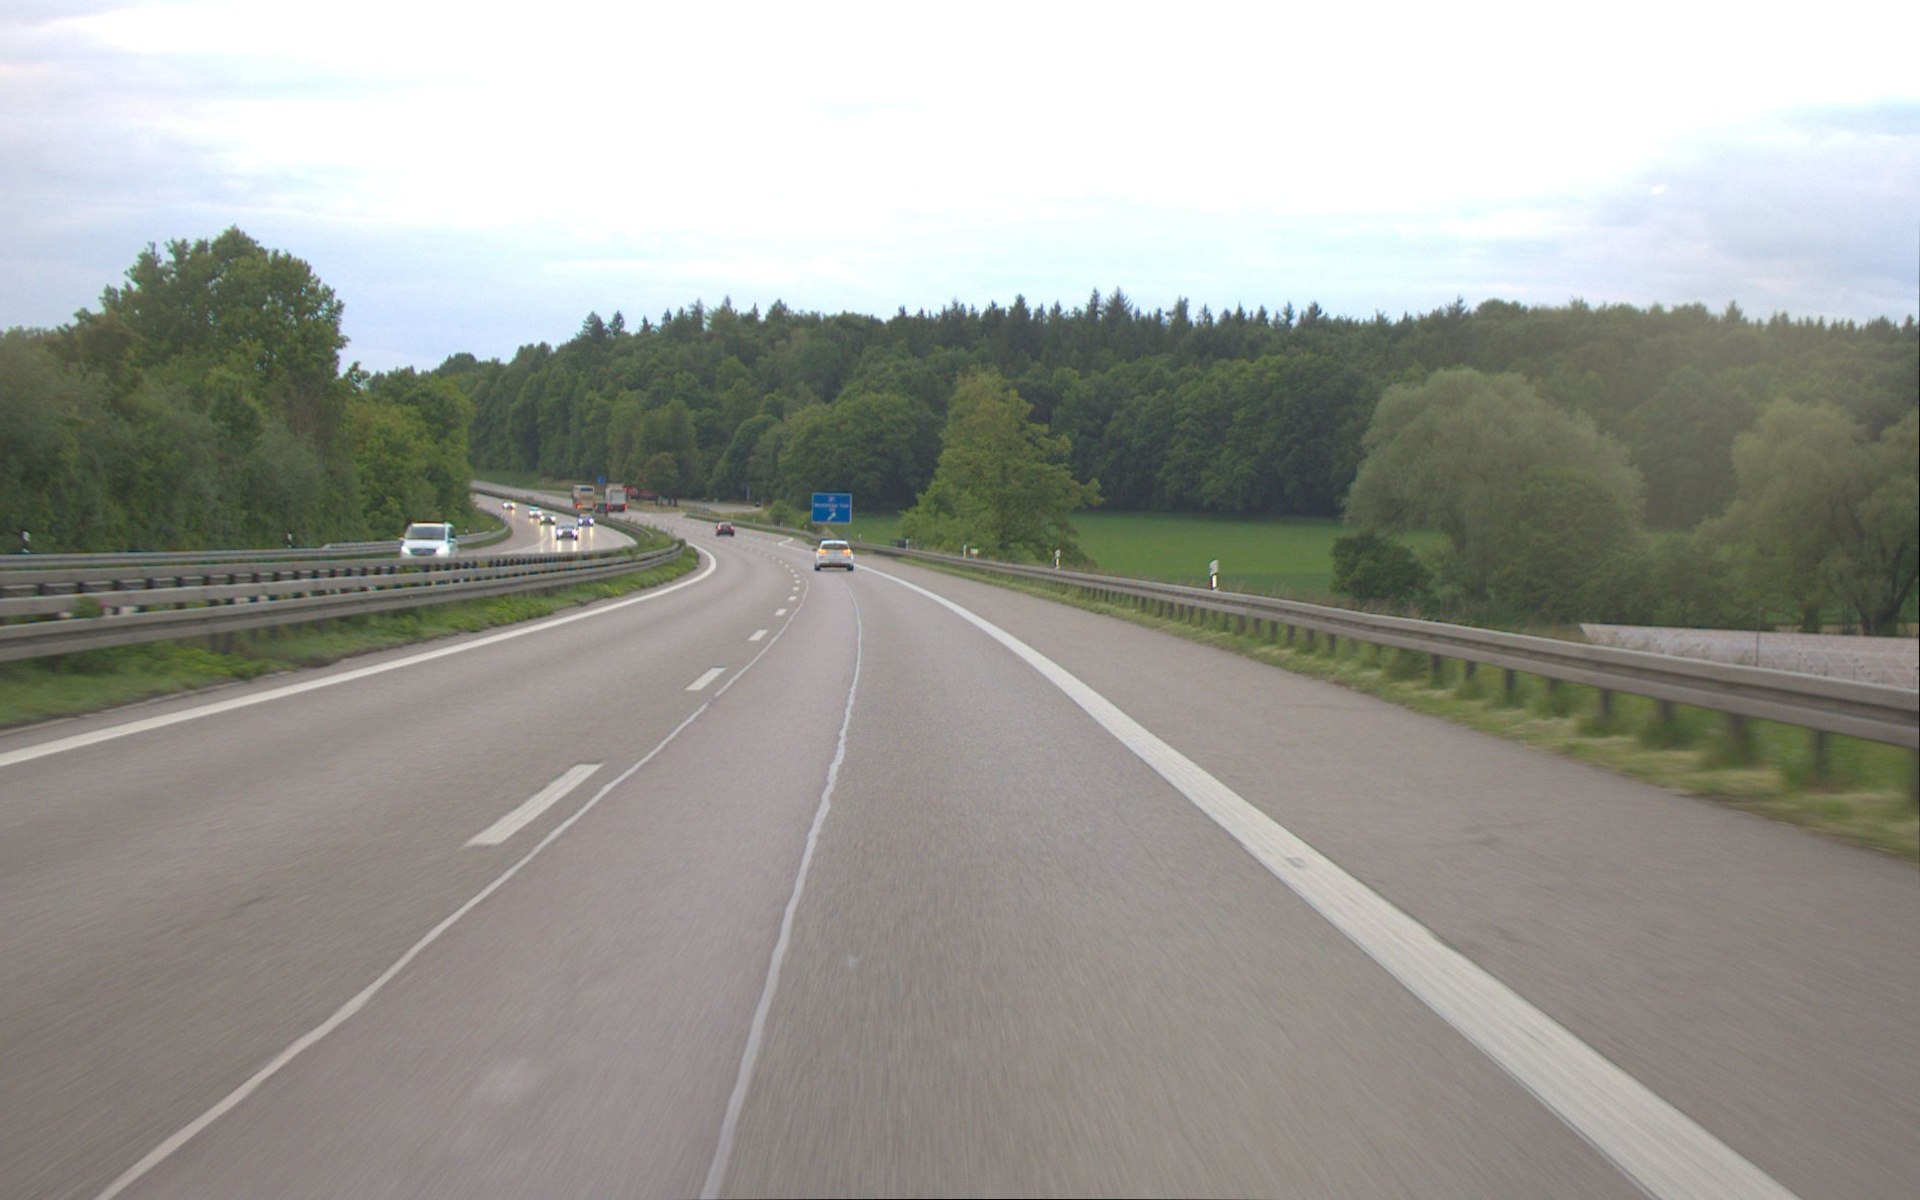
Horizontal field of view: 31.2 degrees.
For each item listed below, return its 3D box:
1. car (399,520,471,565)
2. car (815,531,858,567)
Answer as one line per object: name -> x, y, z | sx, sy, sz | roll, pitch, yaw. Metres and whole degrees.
car -> -21.111, -2.335, 138.410 | 1.993, 1.621, 5.736 | 4, 2, -1
car -> -5.890, -2.448, 164.129 | 1.951, 1.526, 4.081 | 4, 2, -2
